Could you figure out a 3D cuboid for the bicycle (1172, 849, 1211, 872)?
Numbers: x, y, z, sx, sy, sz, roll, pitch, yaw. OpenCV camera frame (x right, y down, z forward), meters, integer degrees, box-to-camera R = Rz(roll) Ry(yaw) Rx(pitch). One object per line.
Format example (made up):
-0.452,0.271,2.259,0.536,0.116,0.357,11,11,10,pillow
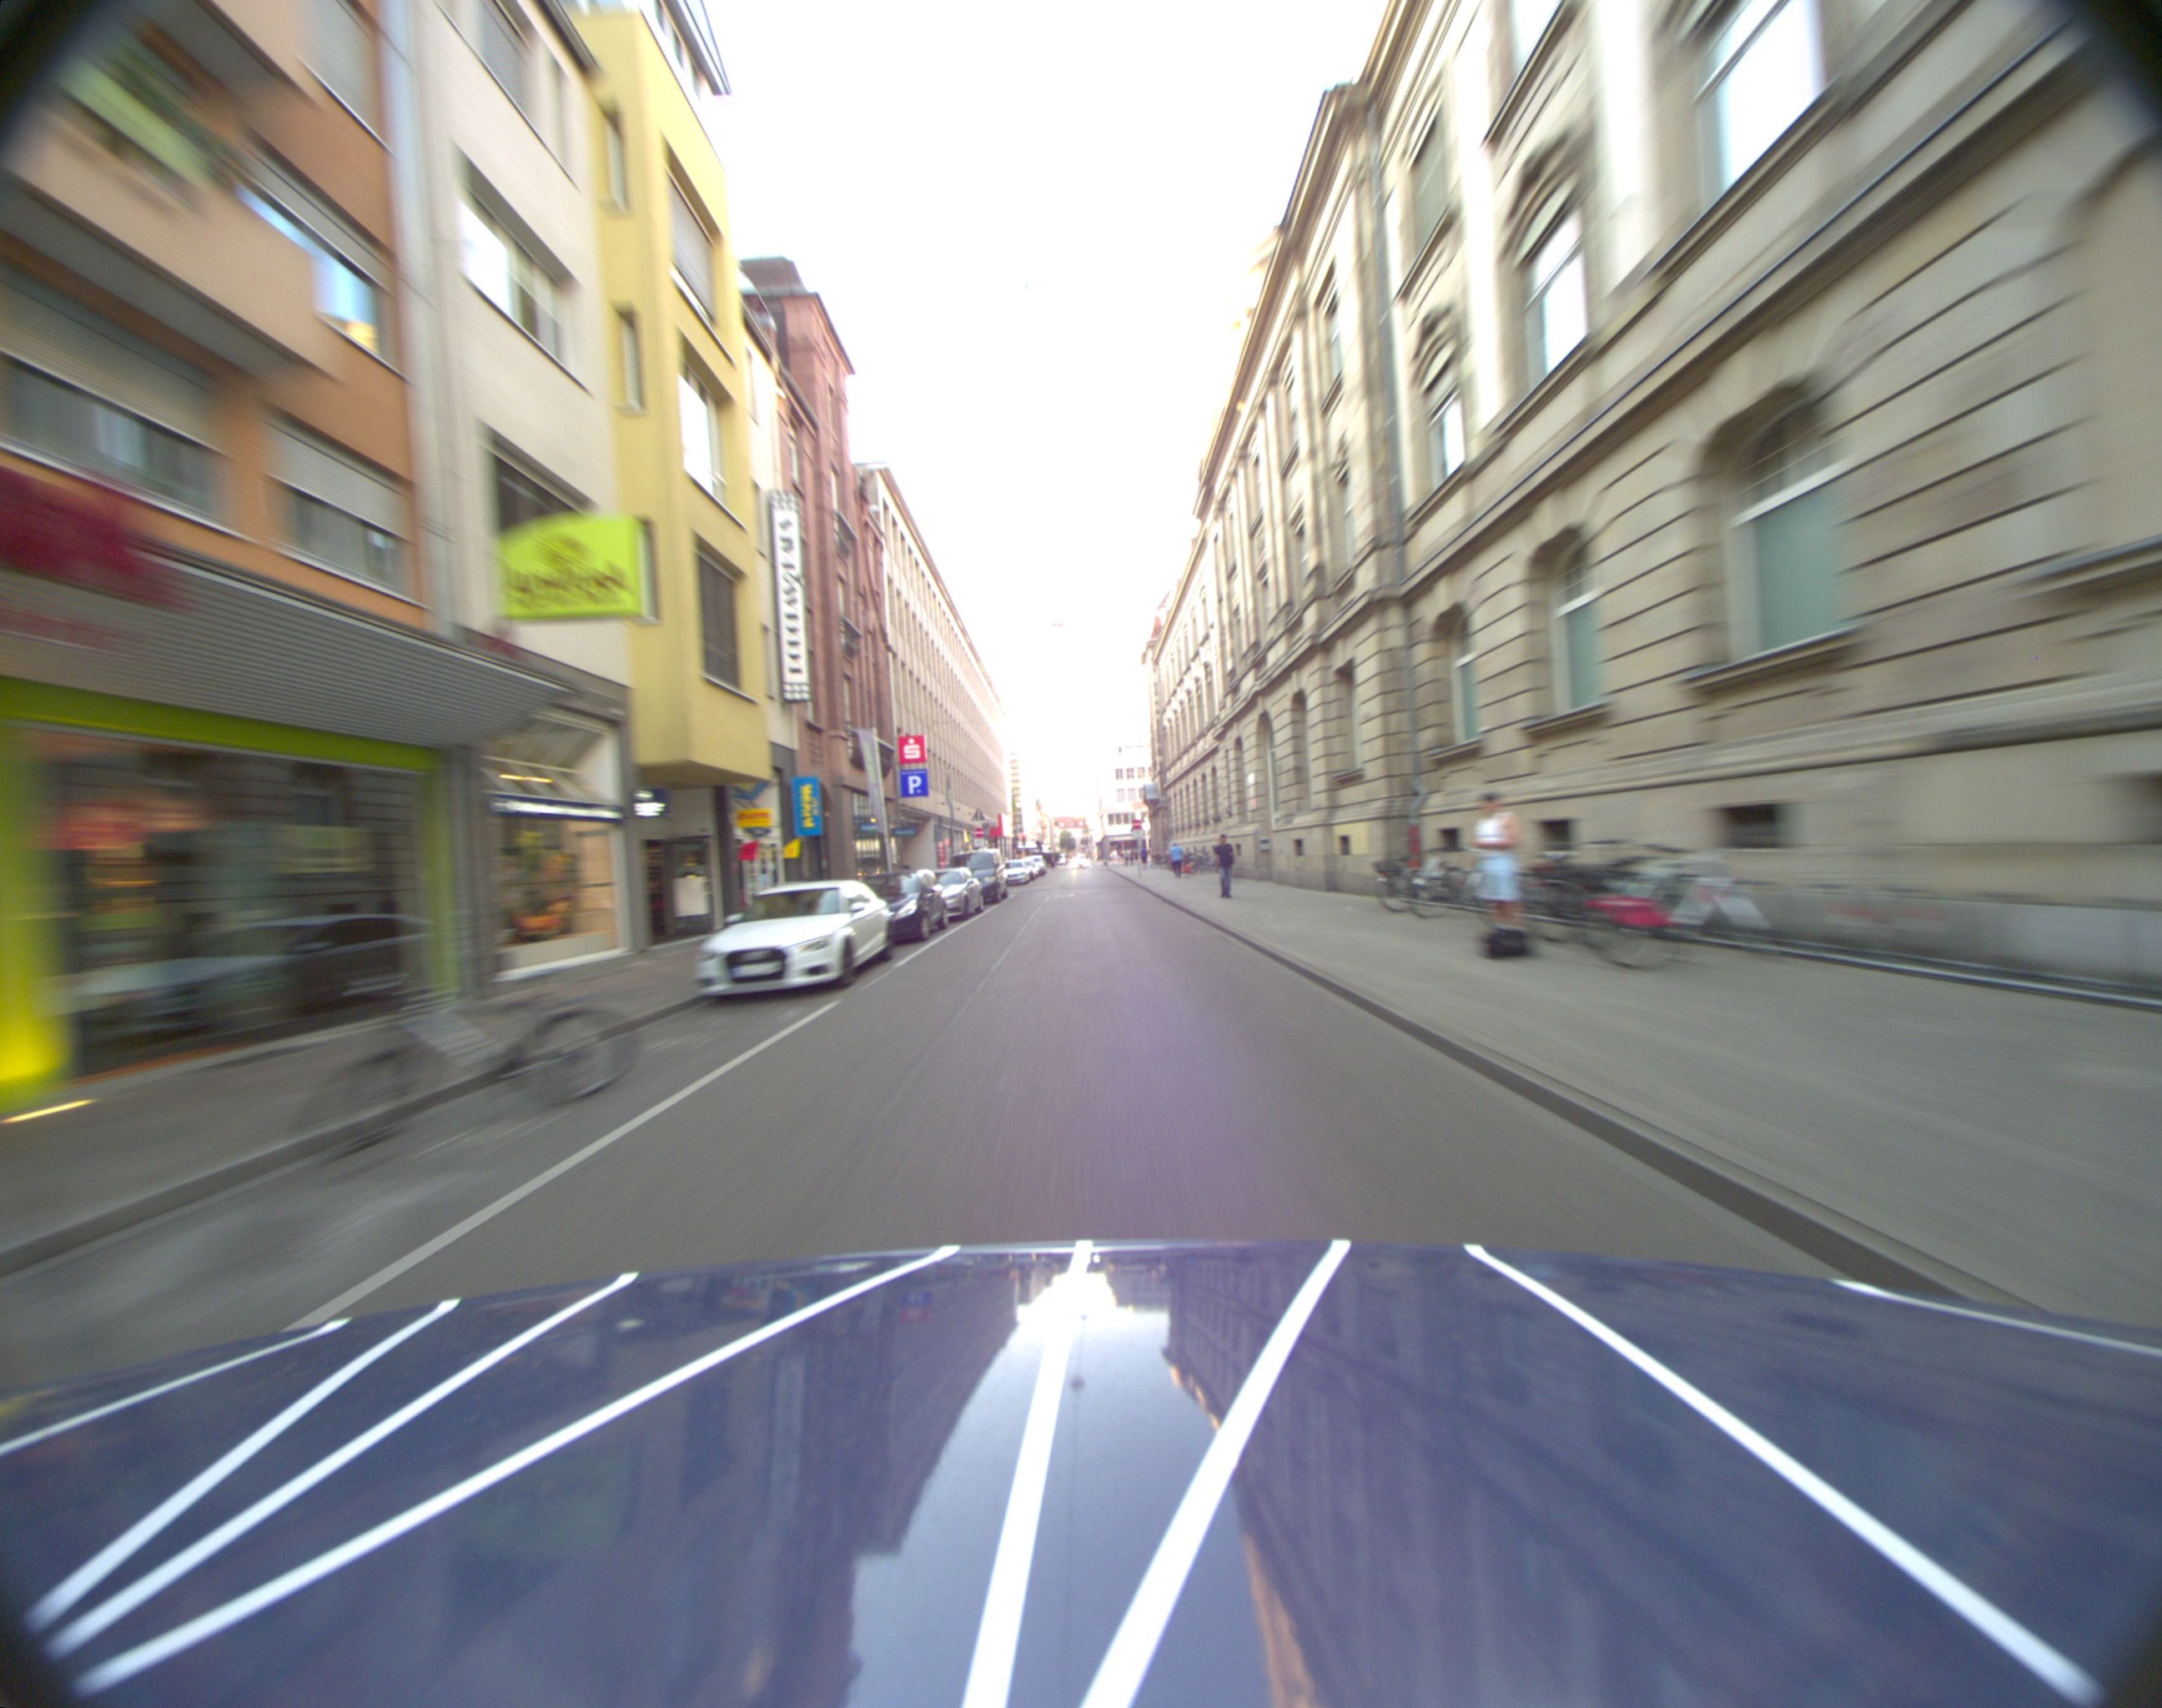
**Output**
6.132,0.360,42.259,1.943,1.072,0.730,-5,1,-6,bicycle

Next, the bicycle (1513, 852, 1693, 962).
6.142,0.600,8.966,1.799,1.101,0.500,-5,1,-5,bicycle

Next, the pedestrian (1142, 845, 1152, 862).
6.539,-0.059,75.098,0.757,1.632,0.749,-7,1,7,pedestrian

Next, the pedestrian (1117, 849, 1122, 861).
5.620,0.111,111.125,0.545,1.698,0.558,-4,1,0,pedestrian

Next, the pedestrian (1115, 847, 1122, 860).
5.219,-0.077,105.535,0.783,1.881,0.642,-3,1,0,pedestrian

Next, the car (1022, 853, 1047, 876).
-3.791,0.816,62.376,1.781,1.656,4.812,-5,1,-2,car

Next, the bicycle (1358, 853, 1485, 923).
6.080,0.594,13.633,1.942,1.055,0.619,-5,1,-1,bicycle

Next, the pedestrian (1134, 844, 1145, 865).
5.026,0.024,64.951,0.719,1.770,0.800,-5,1,1,pedestrian

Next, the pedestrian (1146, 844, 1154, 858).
8.563,-0.368,94.185,0.796,1.679,0.769,-3,0,2,pedestrian

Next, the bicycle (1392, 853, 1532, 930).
6.193,0.585,12.384,1.943,1.055,0.619,-5,1,-5,bicycle

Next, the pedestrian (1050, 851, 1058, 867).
-2.982,0.513,84.617,0.687,1.751,0.799,-3,0,-8,pedestrian

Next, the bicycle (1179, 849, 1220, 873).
6.281,0.383,40.172,1.943,1.072,0.730,-5,1,-6,bicycle

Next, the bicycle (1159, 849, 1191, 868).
6.234,0.282,50.580,1.943,1.072,0.730,-5,1,-6,bicycle

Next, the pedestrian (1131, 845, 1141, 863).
5.290,-0.045,73.426,0.731,1.658,0.858,-7,1,3,pedestrian

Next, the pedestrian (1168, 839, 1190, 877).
4.717,0.195,36.572,0.831,1.736,0.769,-6,1,1,pedestrian

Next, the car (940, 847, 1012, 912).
-3.799,0.849,28.438,1.851,2.046,5.053,-5,1,0,car

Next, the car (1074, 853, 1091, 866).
0.129,0.623,83.364,1.741,1.407,4.681,-1,0,-1,car

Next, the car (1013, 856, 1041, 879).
-3.990,0.972,56.894,1.661,1.439,3.868,-5,1,1,car

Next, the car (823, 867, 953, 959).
-3.947,1.127,16.239,1.622,1.507,4.173,-6,0,-1,car

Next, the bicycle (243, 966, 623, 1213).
-4.126,1.418,5.004,1.740,1.049,0.658,-5,1,-41,bicycle

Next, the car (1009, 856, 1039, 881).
-3.819,0.968,51.346,1.661,1.439,4.444,-5,1,-1,car

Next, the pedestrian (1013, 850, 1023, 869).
-6.523,0.530,78.777,0.685,1.907,0.801,-3,0,27,pedestrian

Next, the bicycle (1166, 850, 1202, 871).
6.227,0.393,45.884,1.943,1.072,0.730,-5,1,-6,bicycle

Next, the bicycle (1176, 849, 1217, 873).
6.213,0.365,40.943,1.943,1.072,0.730,-5,1,-6,bicycle

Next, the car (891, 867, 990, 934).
-3.812,1.203,21.353,1.691,1.444,4.498,-6,0,2,car

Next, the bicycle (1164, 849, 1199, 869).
6.208,0.319,47.072,1.943,1.072,0.730,-5,1,-6,bicycle

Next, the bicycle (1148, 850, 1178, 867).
6.109,0.321,56.889,2.024,1.102,0.730,-5,1,-6,bicycle

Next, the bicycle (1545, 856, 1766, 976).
6.134,0.635,8.152,1.943,1.055,0.619,-5,1,-5,bicycle

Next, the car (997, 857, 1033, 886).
-3.887,1.010,45.373,1.661,1.439,4.307,-5,1,0,car

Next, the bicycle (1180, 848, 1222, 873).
6.141,0.341,38.906,1.942,1.072,0.748,-5,1,-1,bicycle

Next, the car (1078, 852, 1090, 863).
0.415,0.575,121.277,1.824,1.728,4.000,-3,0,-1,car

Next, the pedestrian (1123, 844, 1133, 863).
4.513,-0.057,73.426,0.727,1.732,0.839,-7,1,3,pedestrian

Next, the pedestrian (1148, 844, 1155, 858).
8.628,-0.381,93.357,0.796,1.679,0.769,-3,0,2,pedestrian

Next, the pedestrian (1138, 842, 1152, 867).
4.740,0.011,56.188,0.778,1.778,0.820,-4,1,-2,pedestrian

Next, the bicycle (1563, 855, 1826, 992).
5.693,0.621,7.111,1.942,1.055,0.619,-5,2,-2,bicycle

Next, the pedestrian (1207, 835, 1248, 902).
4.022,0.380,20.947,0.811,1.740,0.969,-5,1,0,pedestrian

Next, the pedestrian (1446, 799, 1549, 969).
4.796,0.333,8.786,0.589,1.840,0.754,-5,1,-5,pedestrian

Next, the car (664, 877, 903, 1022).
-3.963,1.169,11.068,1.696,1.403,4.638,-6,0,-2,car

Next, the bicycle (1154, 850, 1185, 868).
6.292,0.361,54.015,2.026,1.072,0.729,-6,1,-19,bicycle

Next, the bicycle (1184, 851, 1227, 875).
6.223,0.454,37.988,1.940,1.040,0.721,-4,1,-4,bicycle

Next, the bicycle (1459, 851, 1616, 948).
6.094,0.588,10.166,1.799,1.101,0.500,-5,1,-5,bicycle

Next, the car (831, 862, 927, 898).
-10.508,1.347,39.760,4.414,1.493,1.916,-4,1,-1,car

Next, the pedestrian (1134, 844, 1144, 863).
5.763,-0.029,75.243,0.718,1.819,0.870,-7,1,7,pedestrian
